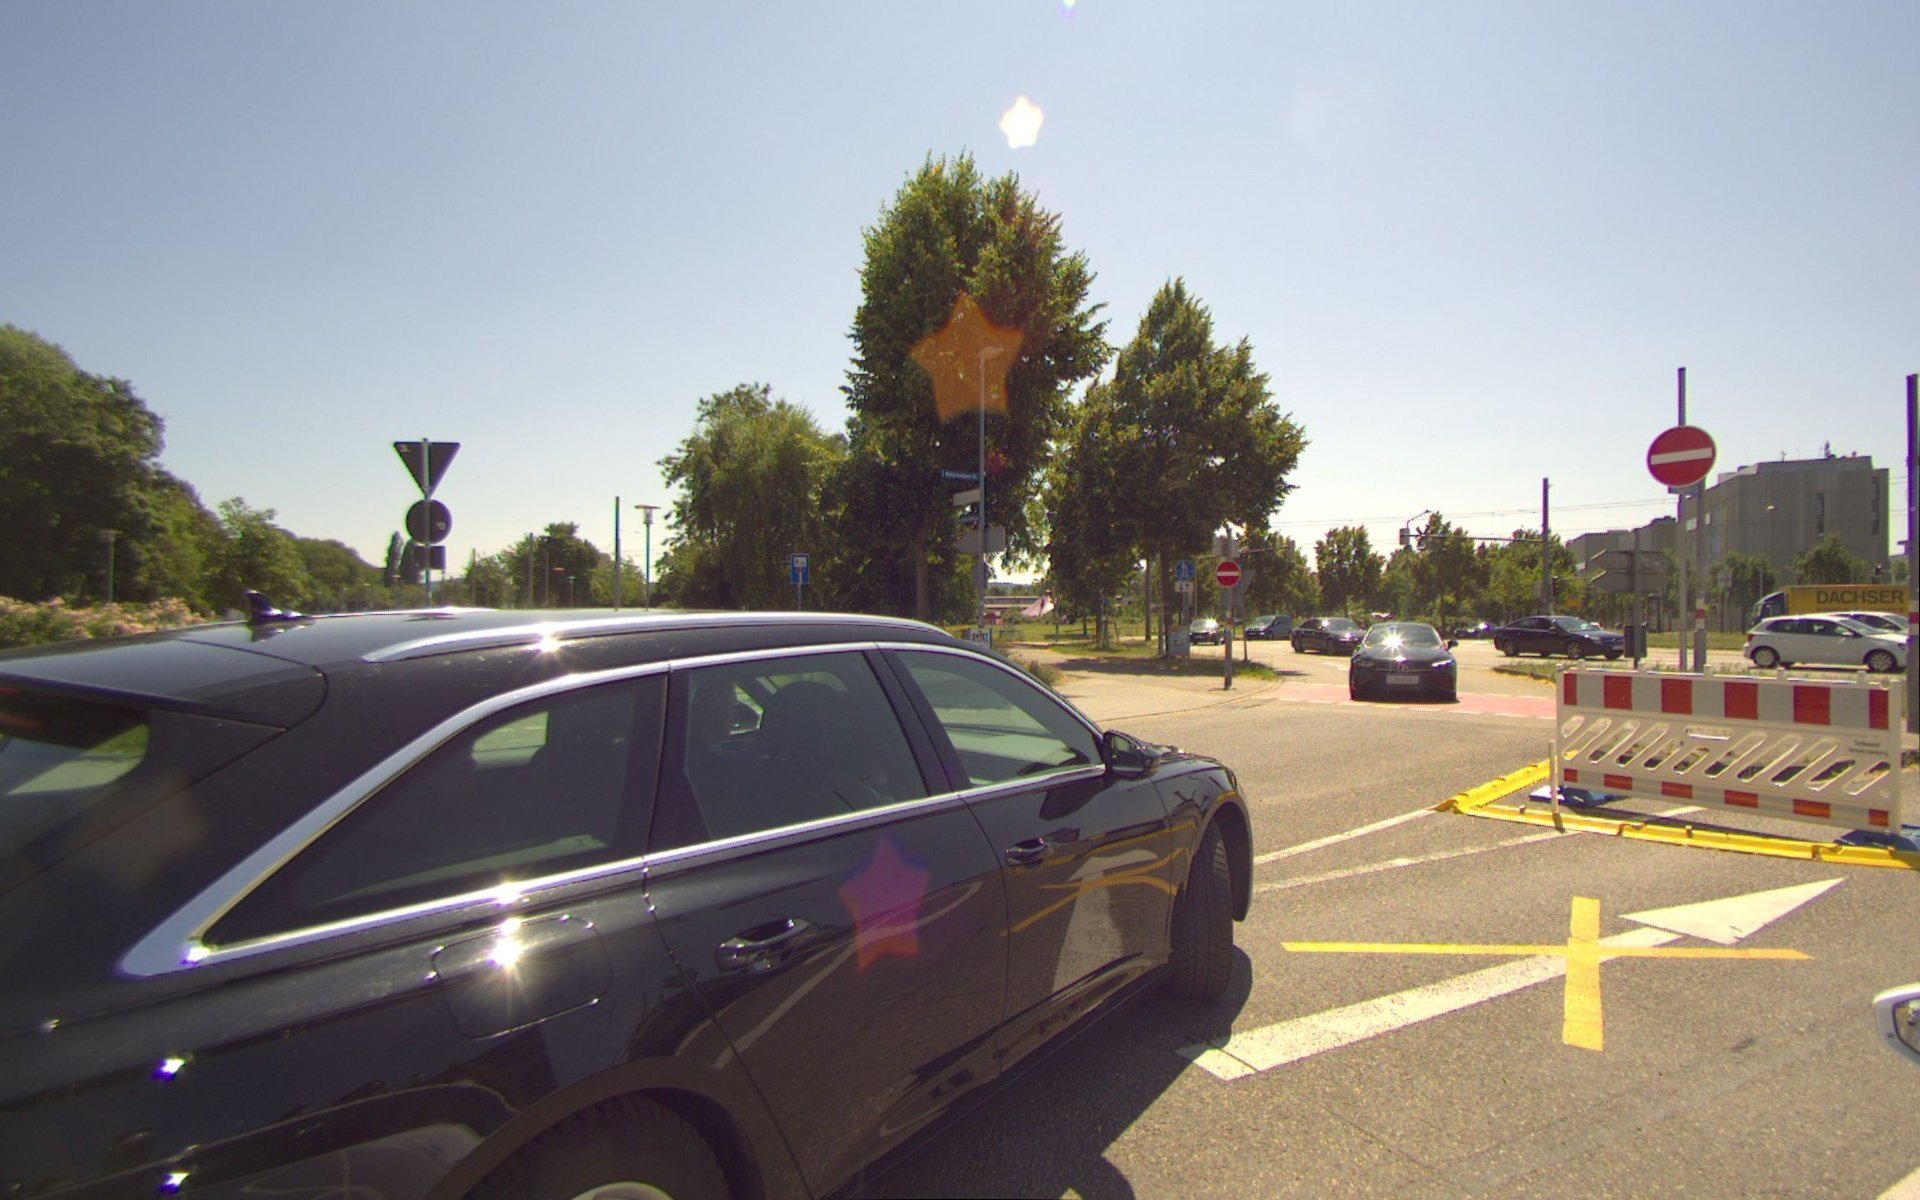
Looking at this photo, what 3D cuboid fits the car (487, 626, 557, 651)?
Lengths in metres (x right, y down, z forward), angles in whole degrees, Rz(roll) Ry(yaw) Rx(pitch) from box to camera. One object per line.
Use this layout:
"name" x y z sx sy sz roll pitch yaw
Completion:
"car" -23.326 2.050 53.489 3.341 1.298 1.346 1 -1 -29

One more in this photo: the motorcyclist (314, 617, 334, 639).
"motorcyclist" -47.705 2.104 75.330 1.242 1.630 1.427 1 -1 -35

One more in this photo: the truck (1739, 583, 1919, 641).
"truck" 57.825 0.795 66.595 9.439 3.707 2.704 0 -1 28

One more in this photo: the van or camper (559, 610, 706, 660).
"van or camper" -13.013 1.363 40.096 5.223 1.882 1.979 1 -1 -37

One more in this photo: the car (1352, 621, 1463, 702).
"car" 8.858 1.176 20.198 1.786 1.422 4.633 -1 -2 21

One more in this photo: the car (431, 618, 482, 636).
"car" -35.807 1.921 71.474 3.188 1.298 1.346 1 -1 -30

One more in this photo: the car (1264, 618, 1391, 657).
"car" 14.606 1.444 40.143 1.976 1.468 4.614 1 -1 -30

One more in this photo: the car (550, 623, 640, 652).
"car" -16.060 1.625 44.237 3.480 1.233 1.343 1 -1 -36

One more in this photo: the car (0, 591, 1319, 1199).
"car" -0.514 0.739 2.978 1.772 1.471 4.602 1 0 36

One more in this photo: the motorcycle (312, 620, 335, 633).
"motorcycle" -47.821 2.005 75.472 1.358 0.934 3.194 1 -1 -35

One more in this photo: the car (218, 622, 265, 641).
"car" -78.687 3.410 110.019 3.952 2.040 1.985 1 -1 -30

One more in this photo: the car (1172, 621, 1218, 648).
"car" 13.111 1.888 56.302 1.688 1.430 4.620 0 -1 2

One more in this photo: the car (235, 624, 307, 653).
"car" -33.155 1.833 48.409 2.715 1.375 1.163 1 -1 -30

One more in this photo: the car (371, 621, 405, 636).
"car" -57.570 2.829 101.158 3.004 1.487 1.379 1 -1 -30

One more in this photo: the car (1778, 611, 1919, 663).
"car" 28.027 1.095 30.669 1.972 1.506 4.341 1 -1 -24

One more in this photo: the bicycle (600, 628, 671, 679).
"bicycle" -7.613 1.251 23.543 1.647 1.127 0.549 1 -2 29

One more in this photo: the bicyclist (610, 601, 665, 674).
"bicyclist" -7.561 0.875 23.552 0.957 1.659 0.714 1 -2 29

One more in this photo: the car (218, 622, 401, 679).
"car" -16.363 1.231 25.374 3.771 1.344 1.643 1 -1 -36

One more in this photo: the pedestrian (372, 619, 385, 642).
"pedestrian" -43.011 2.269 74.284 0.666 1.686 1.327 1 -1 -36

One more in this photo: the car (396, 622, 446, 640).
"car" -44.743 2.536 83.432 3.504 1.483 1.534 1 -1 -35

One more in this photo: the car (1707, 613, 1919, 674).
"car" 23.728 1.154 27.995 1.834 1.468 4.317 1 0 -30

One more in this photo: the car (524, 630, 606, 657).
"car" -18.911 2.059 48.139 3.480 1.233 1.343 1 -1 -36

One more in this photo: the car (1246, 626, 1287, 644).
"car" 21.171 2.401 69.288 1.620 1.244 3.246 0 -1 39

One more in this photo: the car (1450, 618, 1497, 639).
"car" 39.476 2.187 77.206 3.364 1.534 1.344 1 -1 -20

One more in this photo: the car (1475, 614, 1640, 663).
"car" 20.543 1.282 34.794 1.970 1.468 4.735 1 0 -21
